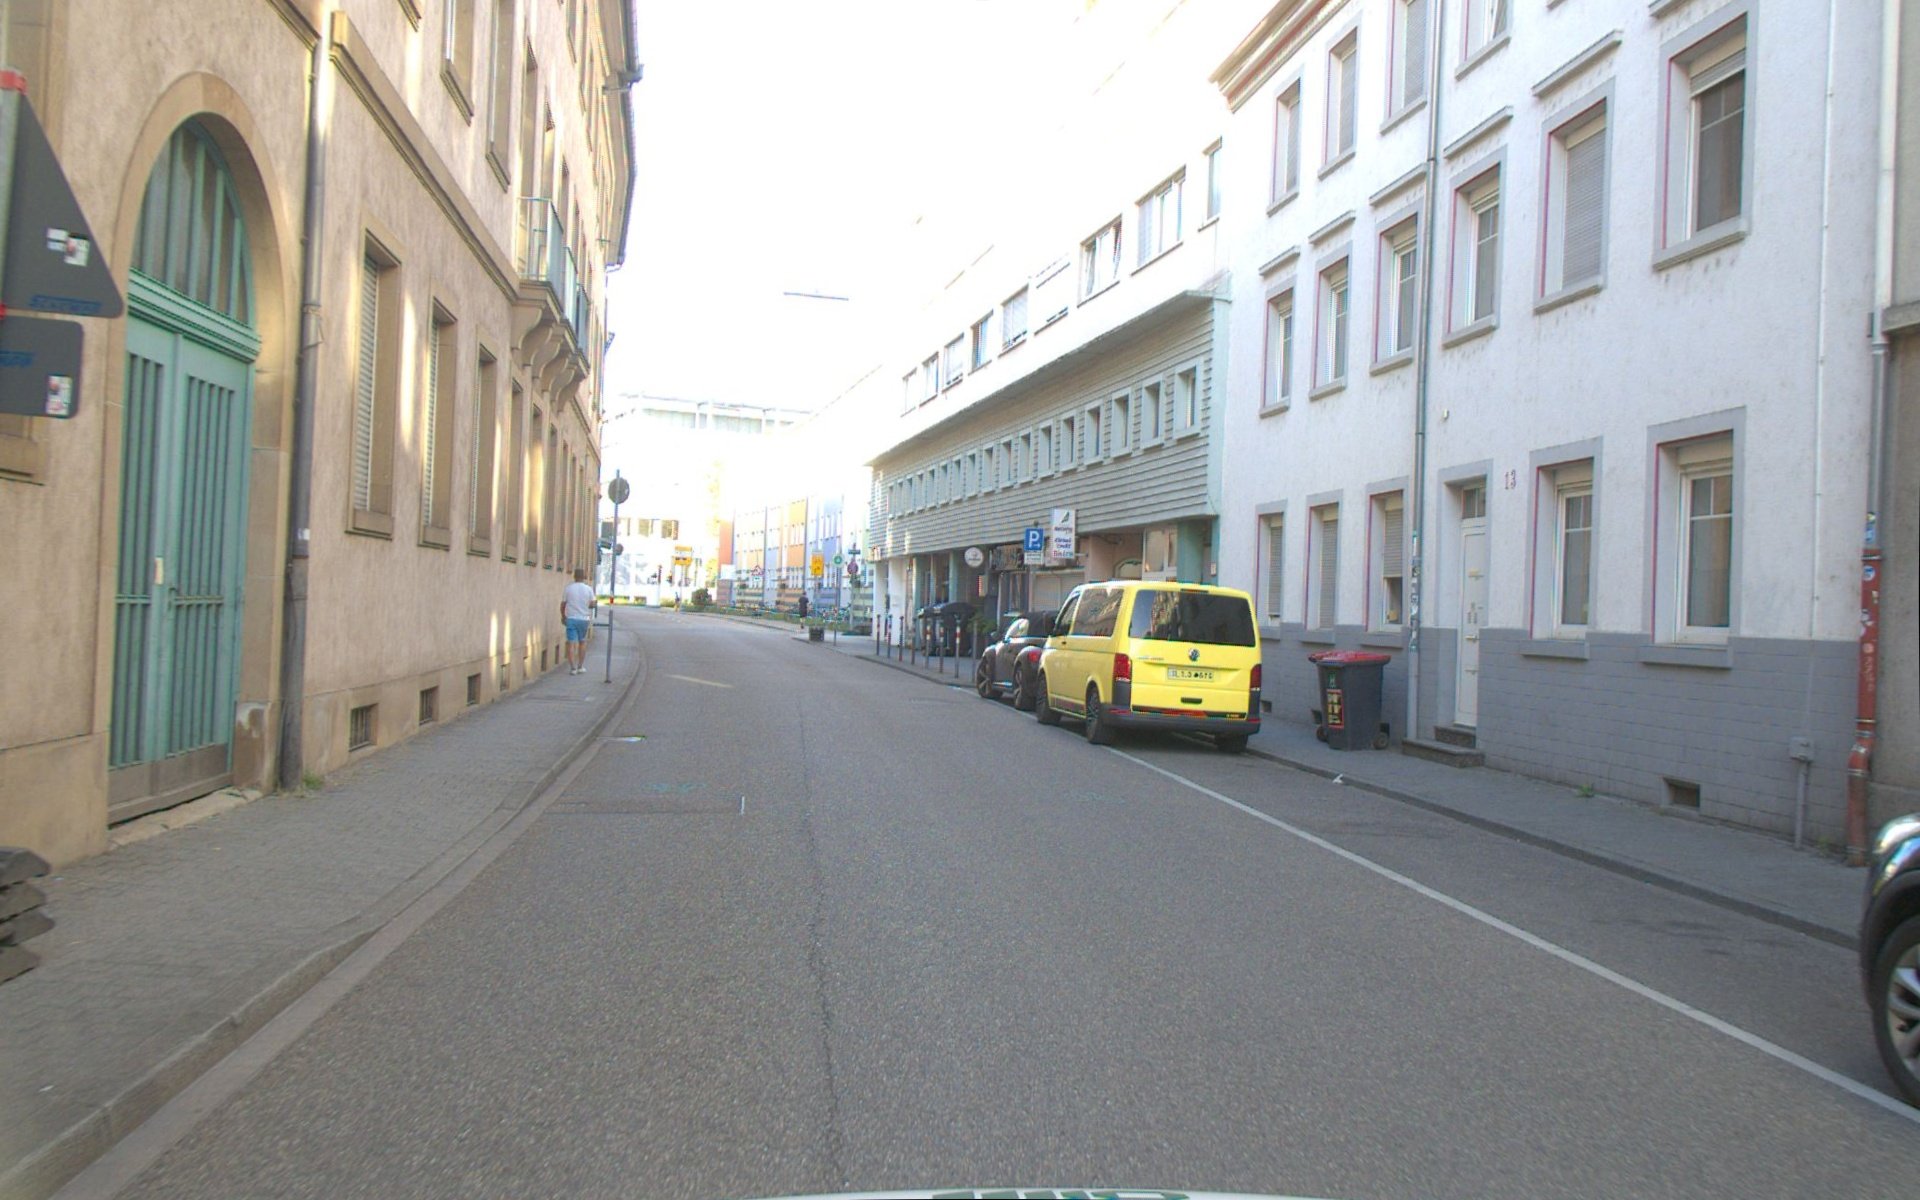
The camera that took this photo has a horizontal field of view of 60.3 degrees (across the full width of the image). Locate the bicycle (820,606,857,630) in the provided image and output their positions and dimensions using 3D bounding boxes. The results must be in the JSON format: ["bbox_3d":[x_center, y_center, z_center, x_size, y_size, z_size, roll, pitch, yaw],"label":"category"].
[{"bbox_3d":[-5.897,0.871,80.211,1.719,1.161,0.550,-1,1,-15],"label":"bicycle"}]

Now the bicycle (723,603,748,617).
[{"bbox_3d":[-16.759,0.727,123.549,1.727,1.021,0.610,1,-1,-19],"label":"bicycle"}]

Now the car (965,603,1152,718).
[{"bbox_3d":[1.431,0.882,25.972,1.850,1.515,4.356,3,0,-11],"label":"car"}]

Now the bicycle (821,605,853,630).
[{"bbox_3d":[-6.090,0.862,81.896,1.580,1.161,0.236,-1,1,-23],"label":"bicycle"}]

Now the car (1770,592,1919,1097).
[{"bbox_3d":[4.233,0.865,4.236,1.789,1.683,4.489,3,0,-5],"label":"car"}]

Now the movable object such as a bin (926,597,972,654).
[{"bbox_3d":[-0.315,0.701,44.854,0.964,1.506,1.547,1,-2,-11],"label":"movable object such as a bin"}]

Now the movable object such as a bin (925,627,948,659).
[{"bbox_3d":[-0.676,1.233,47.356,0.546,0.915,0.521,1,-2,-12],"label":"movable object such as a bin"}]

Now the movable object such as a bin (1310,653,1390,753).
[{"bbox_3d":[4.477,1.174,19.013,0.615,1.069,0.706,-2,0,-14],"label":"movable object such as a bin"}]

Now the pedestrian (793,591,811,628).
[{"bbox_3d":[-7.661,0.447,80.205,0.685,1.791,1.184,0,0,-14],"label":"pedestrian"}]

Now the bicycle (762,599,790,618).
[{"bbox_3d":[-12.273,0.569,110.200,1.781,1.157,0.549,2,-1,-16],"label":"bicycle"}]

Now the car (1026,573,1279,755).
[{"bbox_3d":[2.236,0.707,20.684,1.848,1.914,4.835,3,0,-9],"label":"car"}]

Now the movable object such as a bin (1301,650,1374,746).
[{"bbox_3d":[4.519,1.161,19.827,0.595,1.069,0.707,-2,0,-10],"label":"movable object such as a bin"}]

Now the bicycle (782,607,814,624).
[{"bbox_3d":[-9.183,0.876,93.701,1.719,0.963,0.550,1,-1,-14],"label":"bicycle"}]

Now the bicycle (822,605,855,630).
[{"bbox_3d":[-5.996,0.862,81.637,1.618,1.161,0.281,-1,1,-23],"label":"bicycle"}]

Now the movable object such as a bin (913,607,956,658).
[{"bbox_3d":[-0.729,0.925,46.331,0.964,1.409,1.317,1,-2,-12],"label":"movable object such as a bin"}]

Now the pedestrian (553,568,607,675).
[{"bbox_3d":[-6.302,0.355,27.465,0.680,1.699,0.873,4,-1,-10],"label":"pedestrian"}]

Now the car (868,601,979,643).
[{"bbox_3d":[-1.446,0.858,64.763,4.009,1.508,1.859,2,-1,-14],"label":"car"}]
